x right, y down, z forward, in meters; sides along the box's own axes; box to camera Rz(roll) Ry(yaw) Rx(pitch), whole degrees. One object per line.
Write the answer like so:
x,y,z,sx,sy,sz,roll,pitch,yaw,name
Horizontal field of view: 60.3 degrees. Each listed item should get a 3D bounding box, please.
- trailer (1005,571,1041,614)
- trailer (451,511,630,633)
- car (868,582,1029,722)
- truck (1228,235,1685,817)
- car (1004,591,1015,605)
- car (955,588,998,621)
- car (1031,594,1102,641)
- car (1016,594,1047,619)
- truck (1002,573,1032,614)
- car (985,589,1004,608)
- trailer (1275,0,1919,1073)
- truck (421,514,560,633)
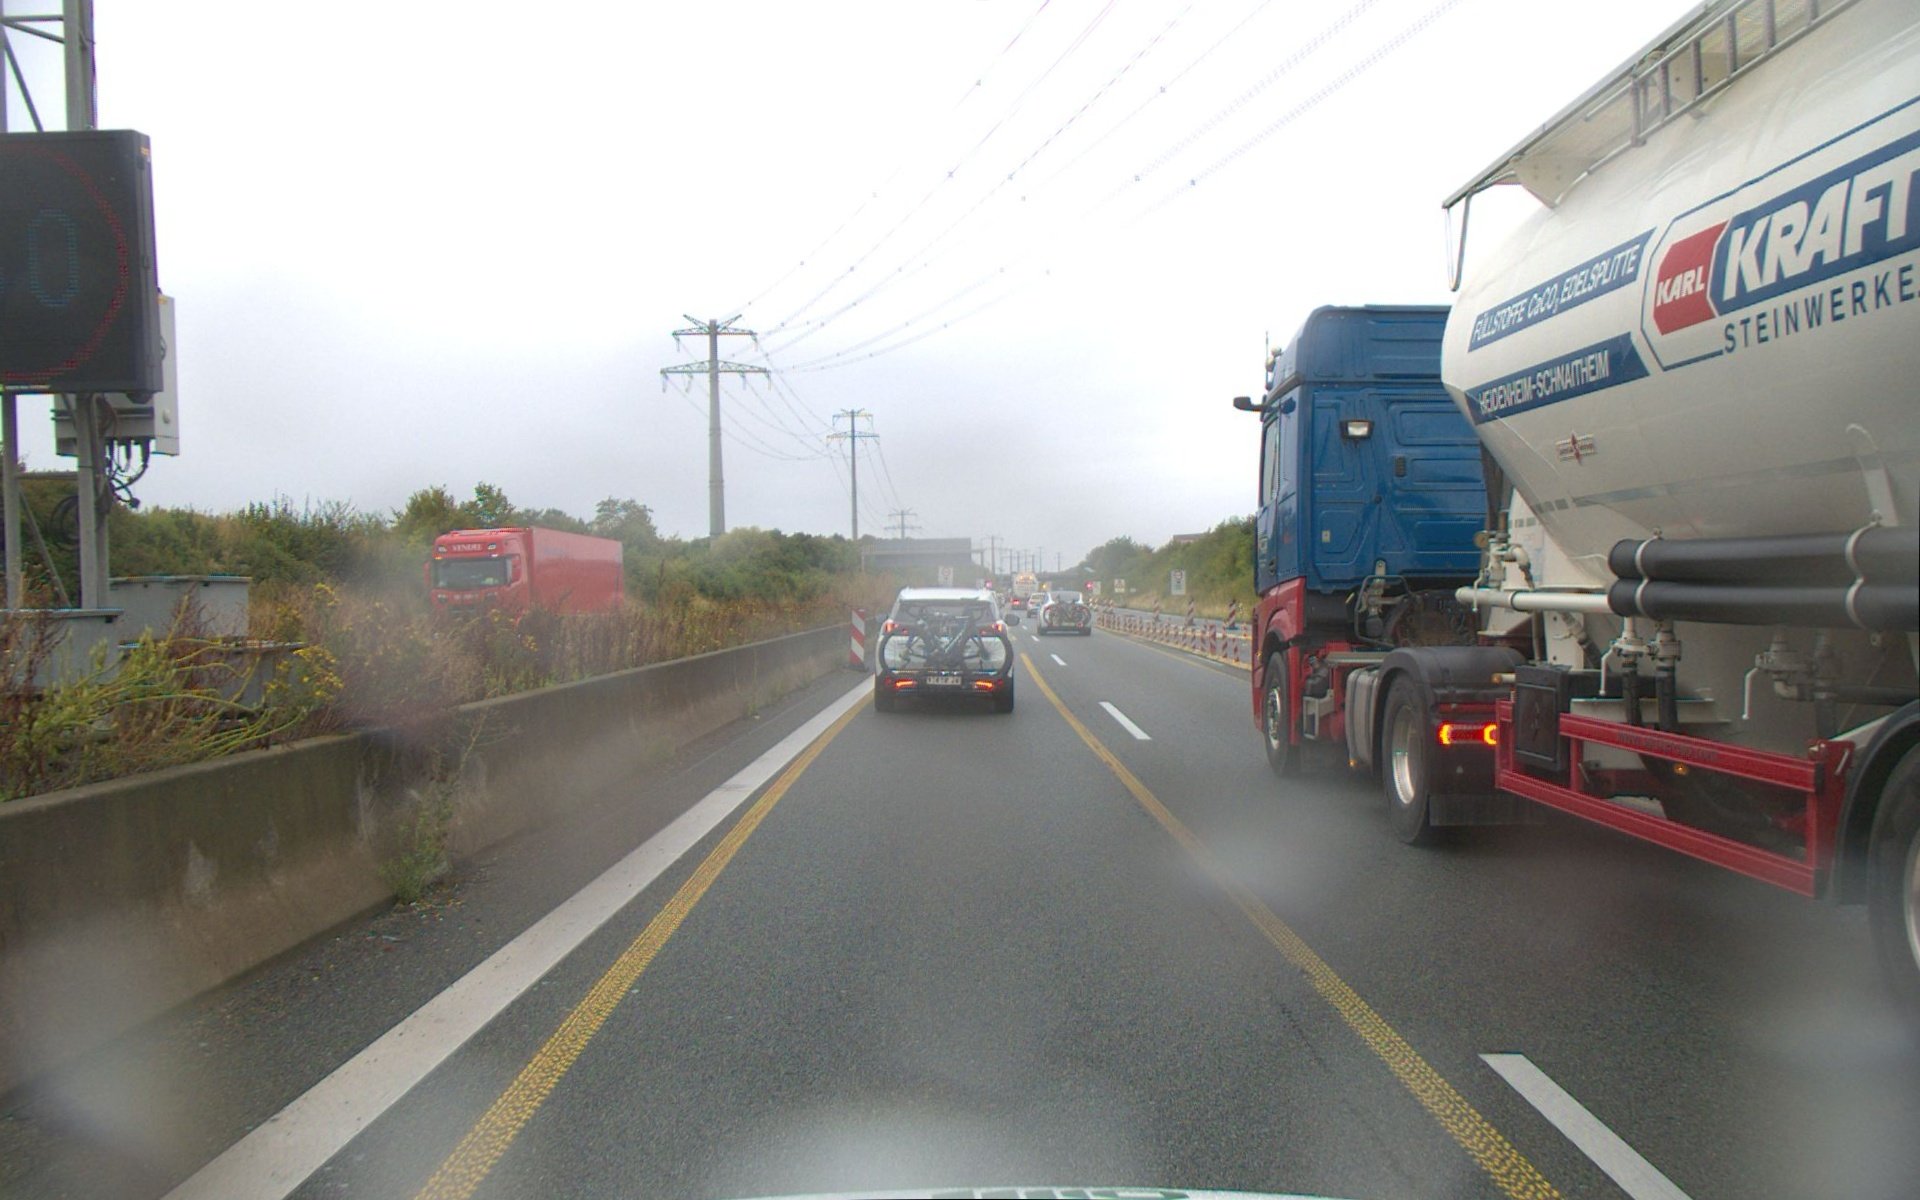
5.913,-0.671,157.435,2.585,3.961,10.538,1,0,-2,trailer
-14.912,-0.851,60.276,2.975,3.881,13.976,1,0,0,trailer
-0.135,0.600,21.774,1.889,1.639,4.595,0,0,0,car
3.781,-0.500,13.499,2.495,4.016,3.999,1,-1,0,truck
7.205,-0.275,240.442,1.619,2.049,4.001,0,0,2,car
0.804,0.196,83.497,1.953,1.611,3.998,0,0,-2,car
3.891,0.628,61.444,2.004,1.624,5.798,1,0,-2,car
4.503,0.393,104.678,1.831,1.561,4.197,0,0,1,car
5.651,-0.623,163.997,2.592,3.959,4.028,1,-1,-2,truck
3.872,-0.152,186.612,1.953,2.049,3.998,1,-1,-2,car
3.926,-0.578,7.407,2.468,3.901,12.348,1,0,-1,trailer
-14.884,-0.794,52.777,2.962,3.593,4.926,1,-1,0,truck
